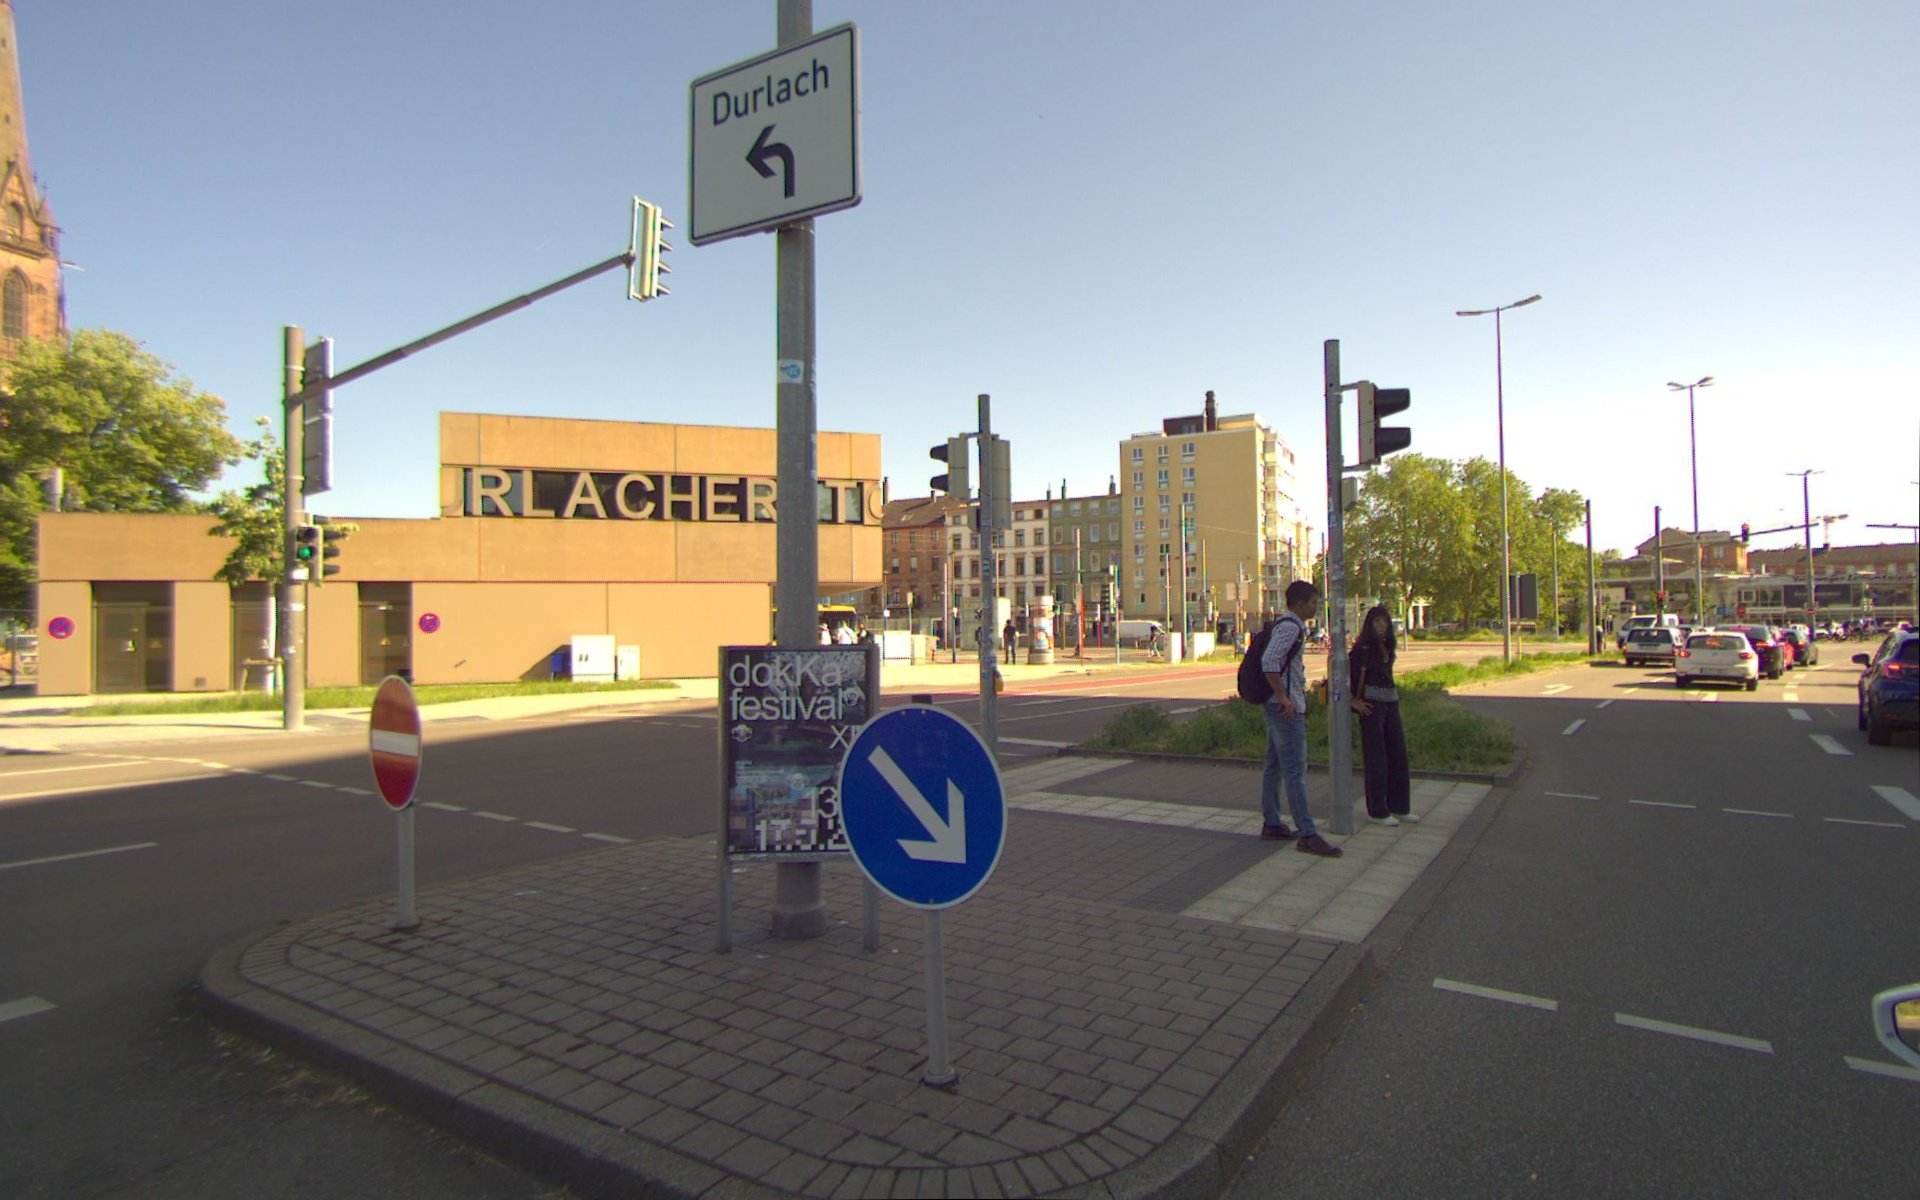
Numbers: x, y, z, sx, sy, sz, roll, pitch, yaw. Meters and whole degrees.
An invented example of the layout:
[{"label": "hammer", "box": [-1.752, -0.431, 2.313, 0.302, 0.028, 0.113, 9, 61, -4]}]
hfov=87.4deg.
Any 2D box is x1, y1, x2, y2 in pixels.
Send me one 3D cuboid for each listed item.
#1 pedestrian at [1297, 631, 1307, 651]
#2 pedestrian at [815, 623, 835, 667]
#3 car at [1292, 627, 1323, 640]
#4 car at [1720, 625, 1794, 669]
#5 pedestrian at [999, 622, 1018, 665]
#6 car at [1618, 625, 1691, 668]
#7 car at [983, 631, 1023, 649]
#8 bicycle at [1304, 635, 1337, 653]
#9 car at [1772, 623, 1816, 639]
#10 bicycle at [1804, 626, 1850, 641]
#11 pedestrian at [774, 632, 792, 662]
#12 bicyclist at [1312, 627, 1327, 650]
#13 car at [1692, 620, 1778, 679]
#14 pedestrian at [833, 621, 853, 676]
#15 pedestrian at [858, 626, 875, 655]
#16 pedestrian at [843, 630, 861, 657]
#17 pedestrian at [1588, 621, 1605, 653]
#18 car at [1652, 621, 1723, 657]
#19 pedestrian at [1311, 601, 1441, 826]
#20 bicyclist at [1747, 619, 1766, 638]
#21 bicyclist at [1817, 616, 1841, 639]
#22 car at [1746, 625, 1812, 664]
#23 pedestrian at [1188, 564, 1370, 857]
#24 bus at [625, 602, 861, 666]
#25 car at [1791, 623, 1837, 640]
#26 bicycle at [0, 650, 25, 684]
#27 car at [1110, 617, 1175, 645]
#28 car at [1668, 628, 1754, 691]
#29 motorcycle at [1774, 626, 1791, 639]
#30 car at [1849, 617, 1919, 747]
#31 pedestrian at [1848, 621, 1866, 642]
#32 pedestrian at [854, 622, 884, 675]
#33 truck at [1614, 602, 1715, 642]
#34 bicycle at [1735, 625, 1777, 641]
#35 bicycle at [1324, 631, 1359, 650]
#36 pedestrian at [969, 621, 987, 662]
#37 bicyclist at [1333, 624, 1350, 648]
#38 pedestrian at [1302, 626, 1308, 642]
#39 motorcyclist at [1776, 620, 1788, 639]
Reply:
[{"label": "pedestrian", "box": [24.308, 2.910, 71.404, 0.584, 1.427, 0.568, -1, 1, 28]}, {"label": "pedestrian", "box": [-5.426, 1.797, 40.444, 0.637, 1.745, 0.787, 2, -3, -17]}, {"label": "car", "box": [38.917, 3.779, 112.530, 3.211, 1.334, 1.524, -1, 1, 25]}, {"label": "car", "box": [28.739, 1.662, 36.185, 1.655, 1.462, 3.698, 1, 0, 45]}, {"label": "pedestrian", "box": [2.063, 1.831, 42.650, 0.635, 1.765, 0.789, 2, 0, -5]}, {"label": "car", "box": [26.147, 1.706, 37.769, 1.706, 1.462, 3.776, 1, 0, 43]}, {"label": "car", "box": [4.687, 4.321, 109.210, 3.928, 1.795, 1.996, -1, 1, 29]}, {"label": "bicycle", "box": [23.252, 2.833, 64.875, 1.929, 1.180, 0.639, -1, -2, 43]}, {"label": "car", "box": [77.319, 2.882, 93.111, 4.131, 1.461, 1.719, 1, -2, -28]}, {"label": "bicycle", "box": [69.826, 2.700, 80.914, 2.603, 1.204, 0.947, -1, 1, 20]}, {"label": "pedestrian", "box": [-9.318, 2.457, 52.952, 0.790, 1.555, 0.636, 1, -2, -27]}, {"label": "bicyclist", "box": [23.230, 2.466, 64.889, 0.765, 1.463, 0.640, -1, -2, 42]}, {"label": "car", "box": [24.611, 1.508, 31.843, 1.960, 1.645, 4.357, 2, 0, 40]}, {"label": "pedestrian", "box": [-3.828, 1.578, 32.836, 0.585, 1.745, 0.790, 2, -3, -5]}, {"label": "pedestrian", "box": [-5.094, 2.186, 54.704, 0.631, 1.555, 0.958, 0, -2, -23]}, {"label": "pedestrian", "box": [-5.701, 2.272, 53.091, 0.784, 1.412, 0.640, -1, -1, 17]}, {"label": "pedestrian", "box": [32.397, 1.884, 51.113, 0.562, 1.632, 0.569, -1, 1, 17]}, {"label": "car", "box": [31.920, 1.671, 44.022, 3.880, 1.462, 1.710, 1, 0, -42]}, {"label": "pedestrian", "box": [3.148, 0.838, 7.664, 0.705, 1.633, 0.682, 0, -1, 1]}, {"label": "bicyclist", "box": [66.632, 2.382, 84.017, 1.047, 1.605, 0.946, -1, 1, 27]}, {"label": "bicyclist", "box": [69.968, 2.199, 80.862, 1.164, 1.800, 0.947, -1, 1, 20]}, {"label": "car", "box": [33.236, 1.777, 40.752, 1.707, 1.462, 3.774, 1, 0, 45]}, {"label": "pedestrian", "box": [2.123, 0.705, 6.818, 1.073, 1.857, 0.757, 0, -1, 9]}, {"label": "bus", "box": [-11.850, 1.793, 55.222, 12.389, 3.258, 2.963, 0, -1, -18]}, {"label": "car", "box": [76.502, 2.844, 89.991, 4.131, 1.461, 1.719, 1, -2, -28]}, {"label": "bicycle", "box": [-30.554, 2.095, 31.452, 1.761, 1.051, 0.565, 1, -3, -21]}, {"label": "car", "box": [16.439, 2.784, 90.585, 5.404, 2.443, 1.997, -1, -2, 28]}, {"label": "car", "box": [19.833, 1.508, 26.465, 1.670, 1.455, 3.720, 1, 0, 39]}, {"label": "motorcycle", "box": [71.952, 2.872, 87.888, 1.815, 1.109, 0.559, 1, -2, -31]}, {"label": "car", "box": [13.678, 1.119, 13.979, 1.855, 1.639, 3.780, 0, -2, 40]}, {"label": "pedestrian", "box": [74.567, 2.615, 83.501, 0.837, 1.632, 0.702, -1, 1, -12]}, {"label": "pedestrian", "box": [-3.054, 1.641, 33.724, 0.635, 1.745, 0.744, -1, -4, 45]}, {"label": "truck", "box": [43.684, 1.361, 62.236, 6.793, 2.344, 2.207, 1, -2, -27]}, {"label": "bicycle", "box": [66.584, 2.763, 84.055, 2.606, 1.204, 0.946, -1, 1, 28]}, {"label": "bicycle", "box": [23.871, 2.525, 62.822, 1.929, 1.180, 0.639, -1, -2, 43]}, {"label": "pedestrian", "box": [0.788, 1.822, 44.014, 0.635, 1.745, 0.790, 2, -3, -5]}, {"label": "bicyclist", "box": [23.862, 2.246, 62.832, 0.766, 1.463, 0.639, -1, -2, 44]}, {"label": "pedestrian", "box": [36.074, 3.551, 105.060, 0.596, 1.632, 0.800, -1, 1, 22]}, {"label": "motorcyclist", "box": [71.885, 2.591, 87.857, 0.736, 1.642, 0.547, 1, -2, -31]}]
